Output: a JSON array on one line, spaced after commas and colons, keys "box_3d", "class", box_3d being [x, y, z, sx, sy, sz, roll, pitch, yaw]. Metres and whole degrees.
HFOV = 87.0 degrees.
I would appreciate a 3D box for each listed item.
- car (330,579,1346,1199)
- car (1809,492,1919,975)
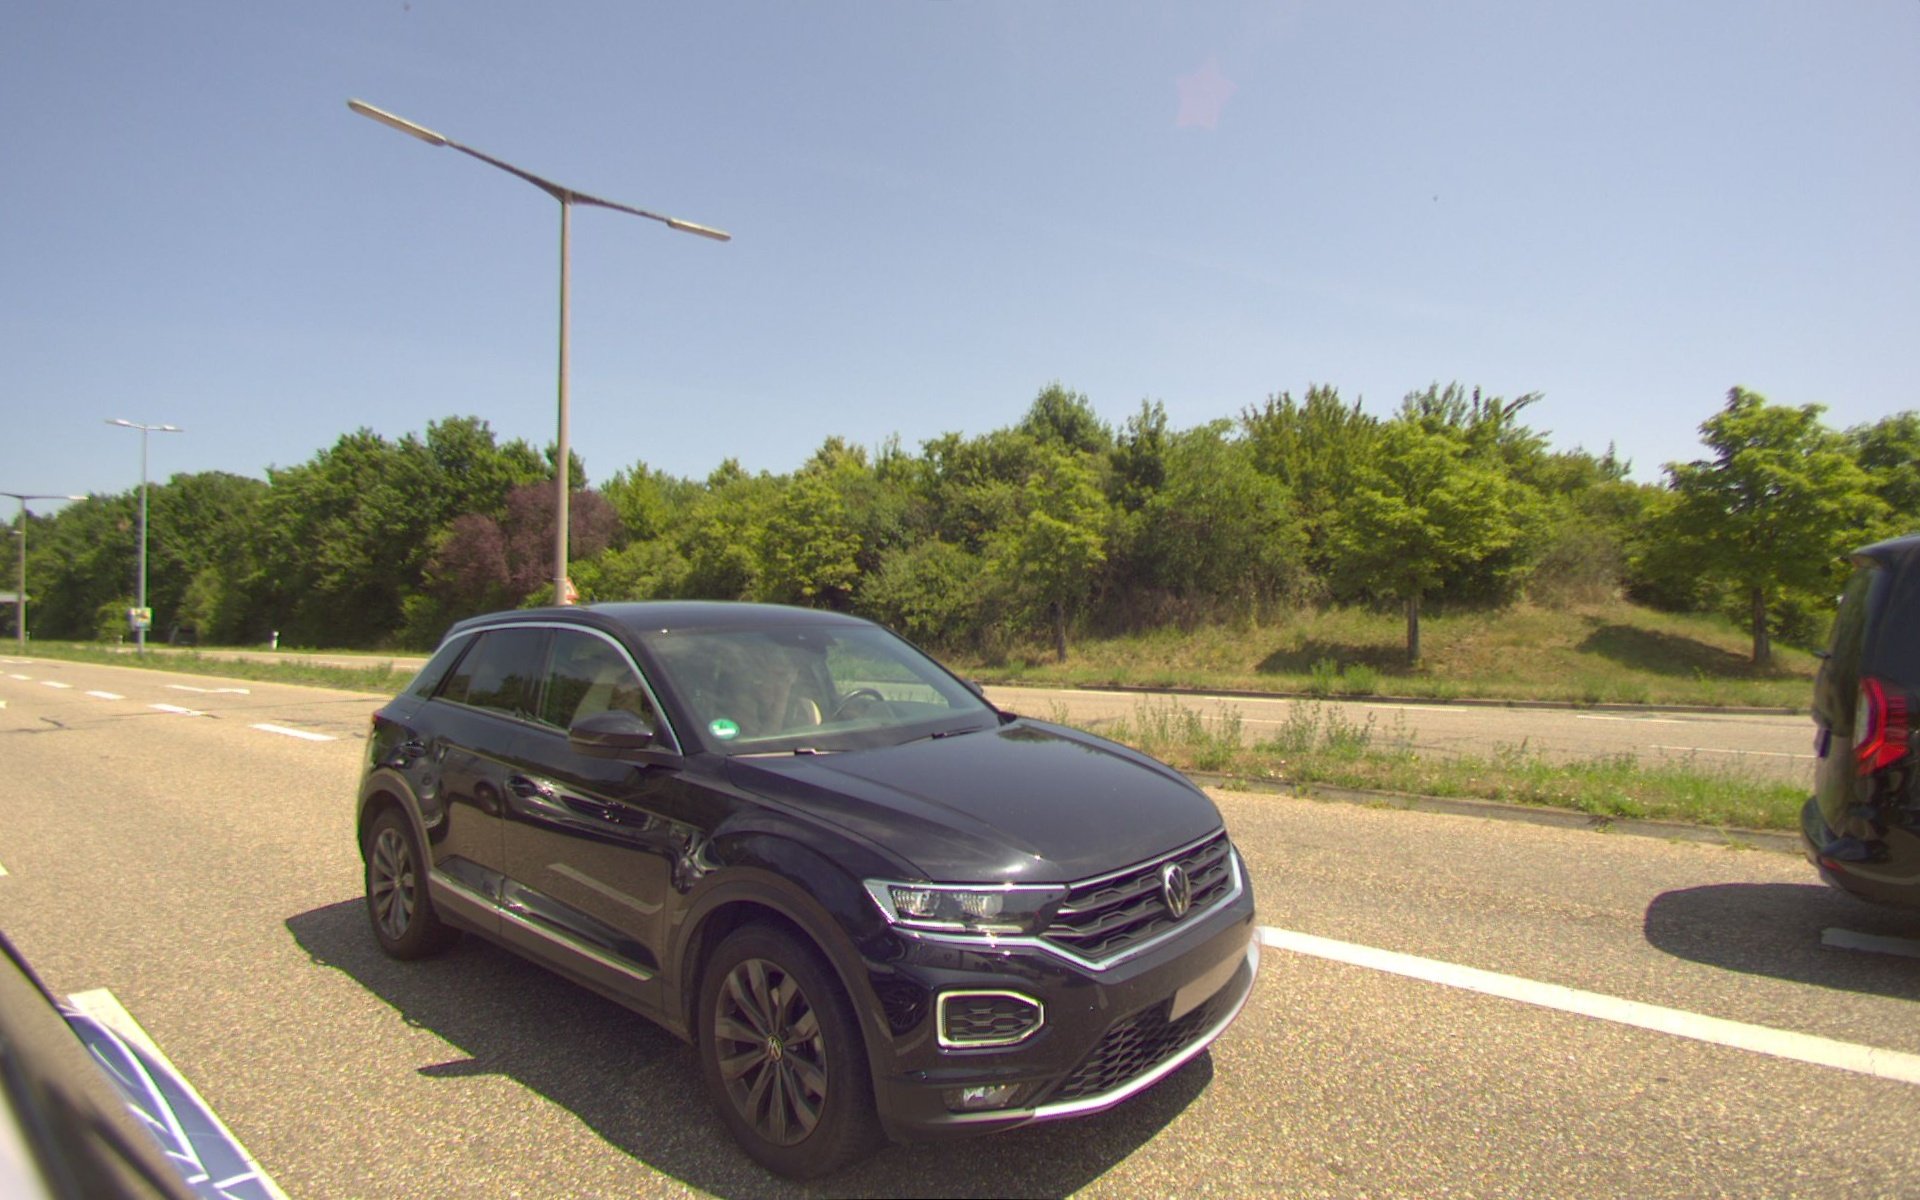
[{"box_3d": [-0.805, 0.730, 3.935, 3.969, 1.523, 1.716, -1, 0, 41], "class": "car"}, {"box_3d": [5.661, 0.481, 3.324, 4.317, 1.840, 1.714, -2, -2, 39], "class": "car"}]
